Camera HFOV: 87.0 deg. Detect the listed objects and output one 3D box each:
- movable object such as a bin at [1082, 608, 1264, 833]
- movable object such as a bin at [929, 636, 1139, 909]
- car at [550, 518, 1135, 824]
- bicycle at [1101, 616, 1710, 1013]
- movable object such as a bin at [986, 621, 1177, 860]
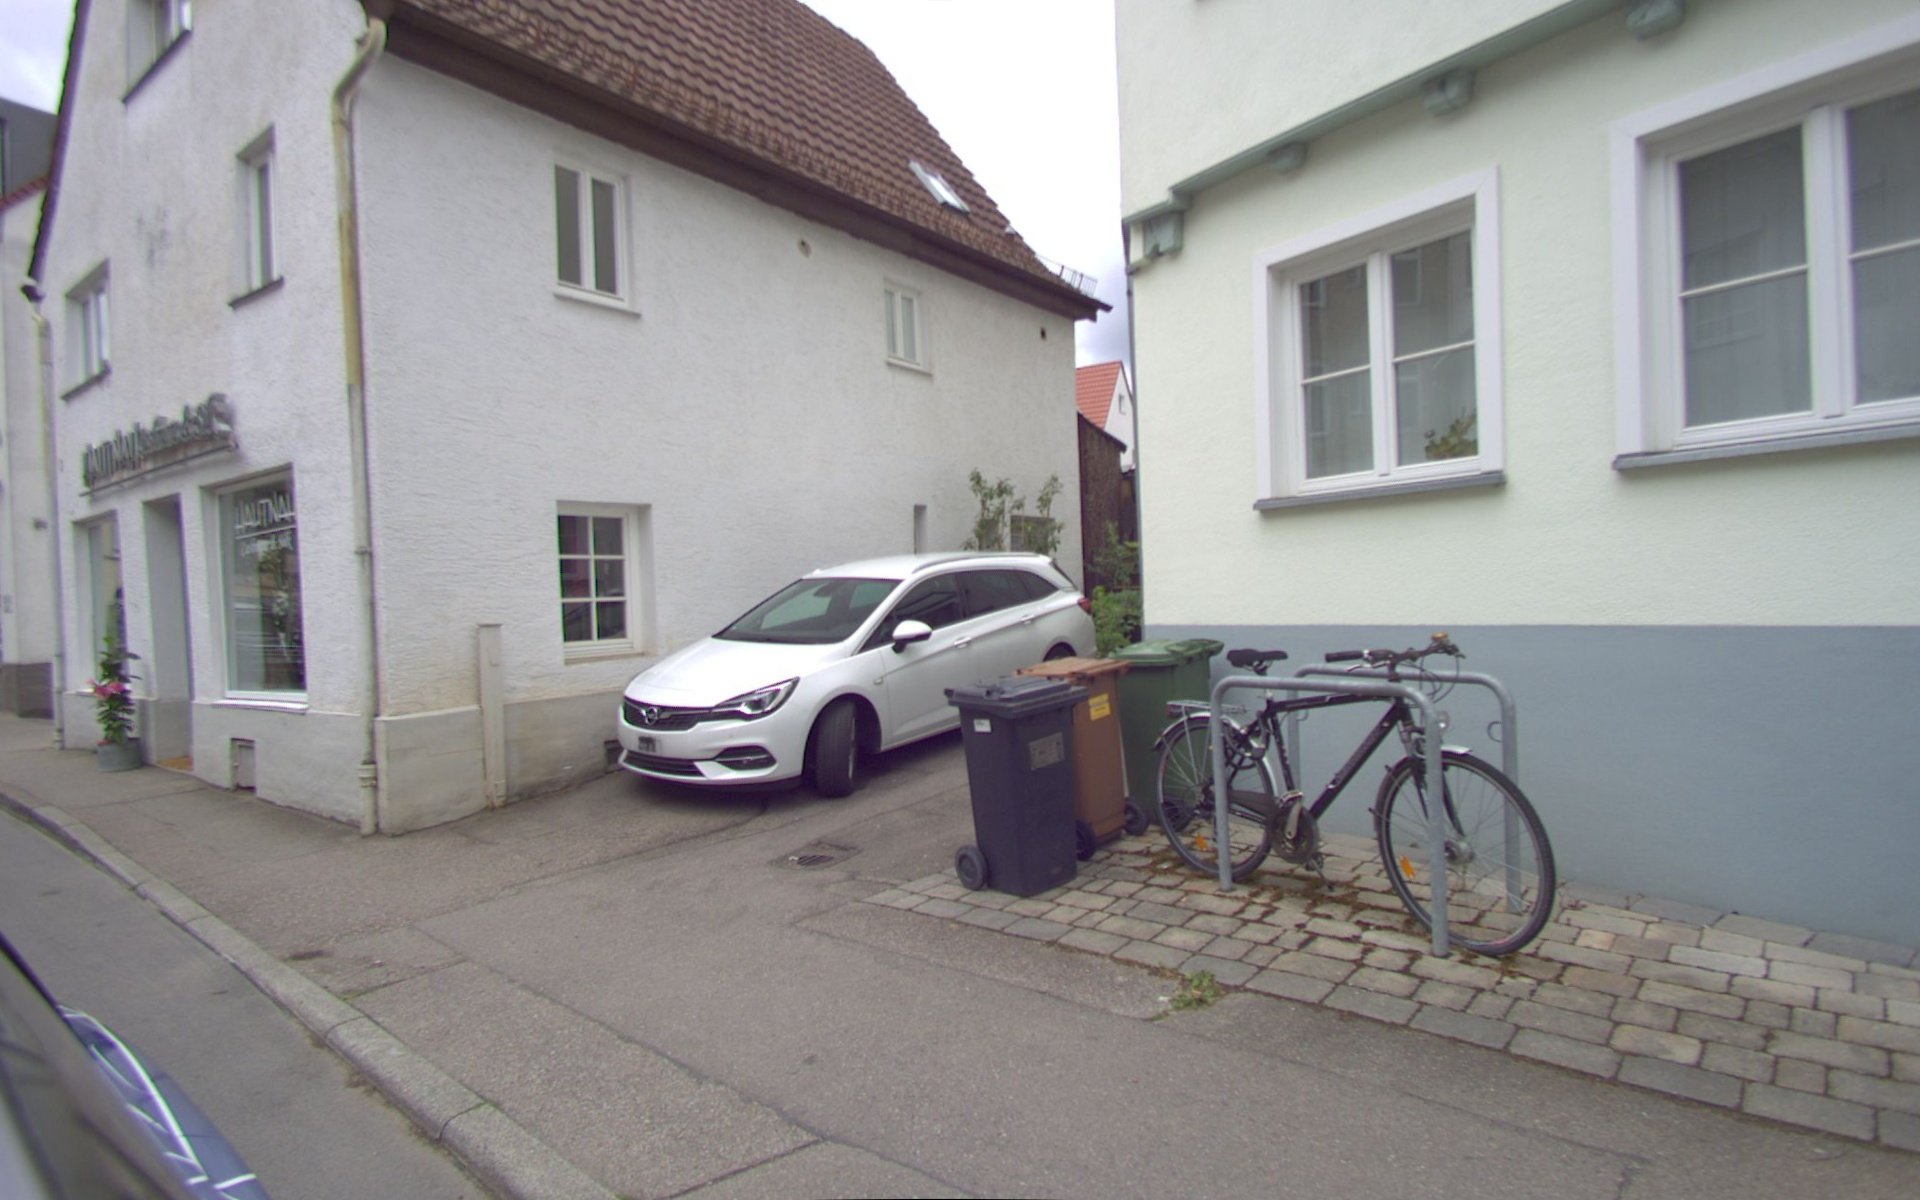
[{"bbox_3d":[1.098,0.585,5.235,0.549,1.007,0.624,-9,4,-37],"label":"movable object such as a bin"},{"bbox_3d":[0.316,0.697,4.372,0.546,1.007,0.588,-8,3,-37],"label":"movable object such as a bin"},{"bbox_3d":[-0.588,0.237,8.046,1.976,1.510,4.496,2,8,38],"label":"car"},{"bbox_3d":[1.431,0.609,3.754,0.436,1.046,2.098,-7,3,-33],"label":"bicycle"},{"bbox_3d":[0.586,0.647,4.932,0.562,1.007,0.600,-8,2,-38],"label":"movable object such as a bin"}]
